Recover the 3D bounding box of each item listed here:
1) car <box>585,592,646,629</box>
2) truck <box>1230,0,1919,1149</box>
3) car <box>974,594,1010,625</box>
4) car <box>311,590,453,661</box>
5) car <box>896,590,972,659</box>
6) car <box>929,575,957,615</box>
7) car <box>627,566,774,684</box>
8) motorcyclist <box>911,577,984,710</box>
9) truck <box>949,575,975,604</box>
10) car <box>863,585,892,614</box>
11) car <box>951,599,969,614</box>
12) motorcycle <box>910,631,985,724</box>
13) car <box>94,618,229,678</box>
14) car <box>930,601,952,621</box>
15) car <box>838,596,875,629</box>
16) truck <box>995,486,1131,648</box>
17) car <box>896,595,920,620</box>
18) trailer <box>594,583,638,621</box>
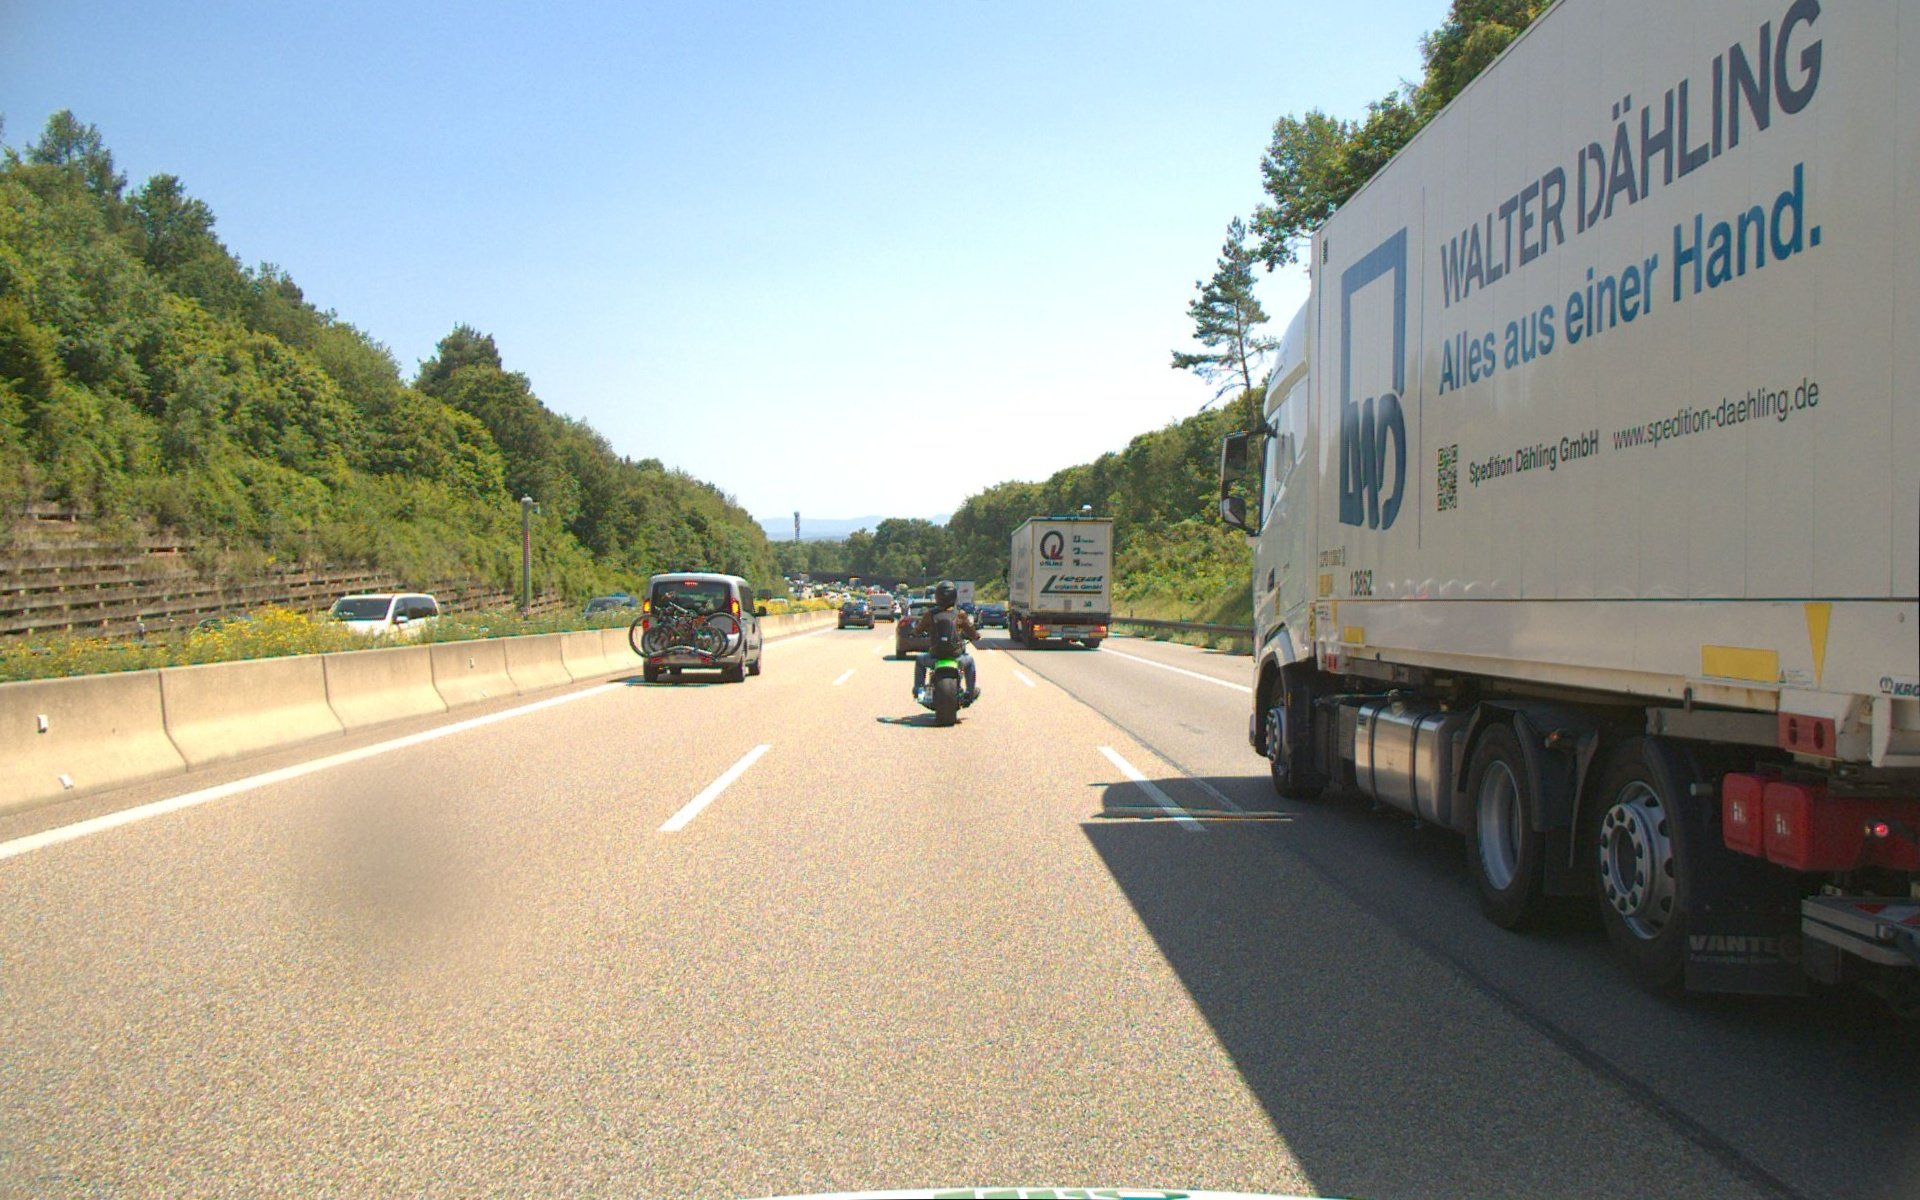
[{"bbox_3d":[-14.930,0.437,71.790,1.751,1.548,4.203,-1,0,0],"label":"car"},{"bbox_3d":[3.809,-0.667,9.291,2.625,4.130,10.624,1,1,-1],"label":"truck"},{"bbox_3d":[1.784,0.511,92.765,1.794,1.585,4.119,1,1,-1],"label":"car"},{"bbox_3d":[-14.588,0.586,42.062,1.854,1.635,5.077,0,1,0],"label":"car"},{"bbox_3d":[-0.681,0.578,42.046,1.808,1.584,4.438,1,1,-1],"label":"car"},{"bbox_3d":[-1.179,-0.355,110.625,1.794,2.533,4.643,1,1,-1],"label":"car"},{"bbox_3d":[-4.528,0.388,29.606,1.860,1.880,5.481,1,0,-1],"label":"car"},{"bbox_3d":[-0.145,0.501,19.747,0.838,1.541,0.914,0,0,0],"label":"motorcyclist"},{"bbox_3d":[0.232,-1.385,205.222,3.005,3.404,9.650,2,1,-1],"label":"truck"},{"bbox_3d":[-5.554,-0.042,111.658,1.794,1.842,4.119,1,1,-1],"label":"car"},{"bbox_3d":[-0.013,0.688,181.786,1.794,1.585,4.119,1,1,-1],"label":"car"},{"bbox_3d":[-0.146,0.897,19.854,0.844,0.999,2.130,0,0,0],"label":"motorcycle"},{"bbox_3d":[-22.940,1.340,47.688,1.898,1.548,4.202,-1,0,-1],"label":"car"},{"bbox_3d":[-1.692,0.947,146.480,1.794,1.585,4.119,1,1,-1],"label":"car"},{"bbox_3d":[-5.358,0.623,85.946,1.722,1.570,4.394,1,1,-1],"label":"car"},{"bbox_3d":[3.317,-1.139,59.158,3.315,4.800,17.706,2,1,-1],"label":"truck"},{"bbox_3d":[-4.072,0.560,129.960,1.794,1.842,4.119,1,1,-1],"label":"car"},{"bbox_3d":[-20.296,0.118,97.776,1.857,2.154,3.495,-1,0,0],"label":"trailer"}]
